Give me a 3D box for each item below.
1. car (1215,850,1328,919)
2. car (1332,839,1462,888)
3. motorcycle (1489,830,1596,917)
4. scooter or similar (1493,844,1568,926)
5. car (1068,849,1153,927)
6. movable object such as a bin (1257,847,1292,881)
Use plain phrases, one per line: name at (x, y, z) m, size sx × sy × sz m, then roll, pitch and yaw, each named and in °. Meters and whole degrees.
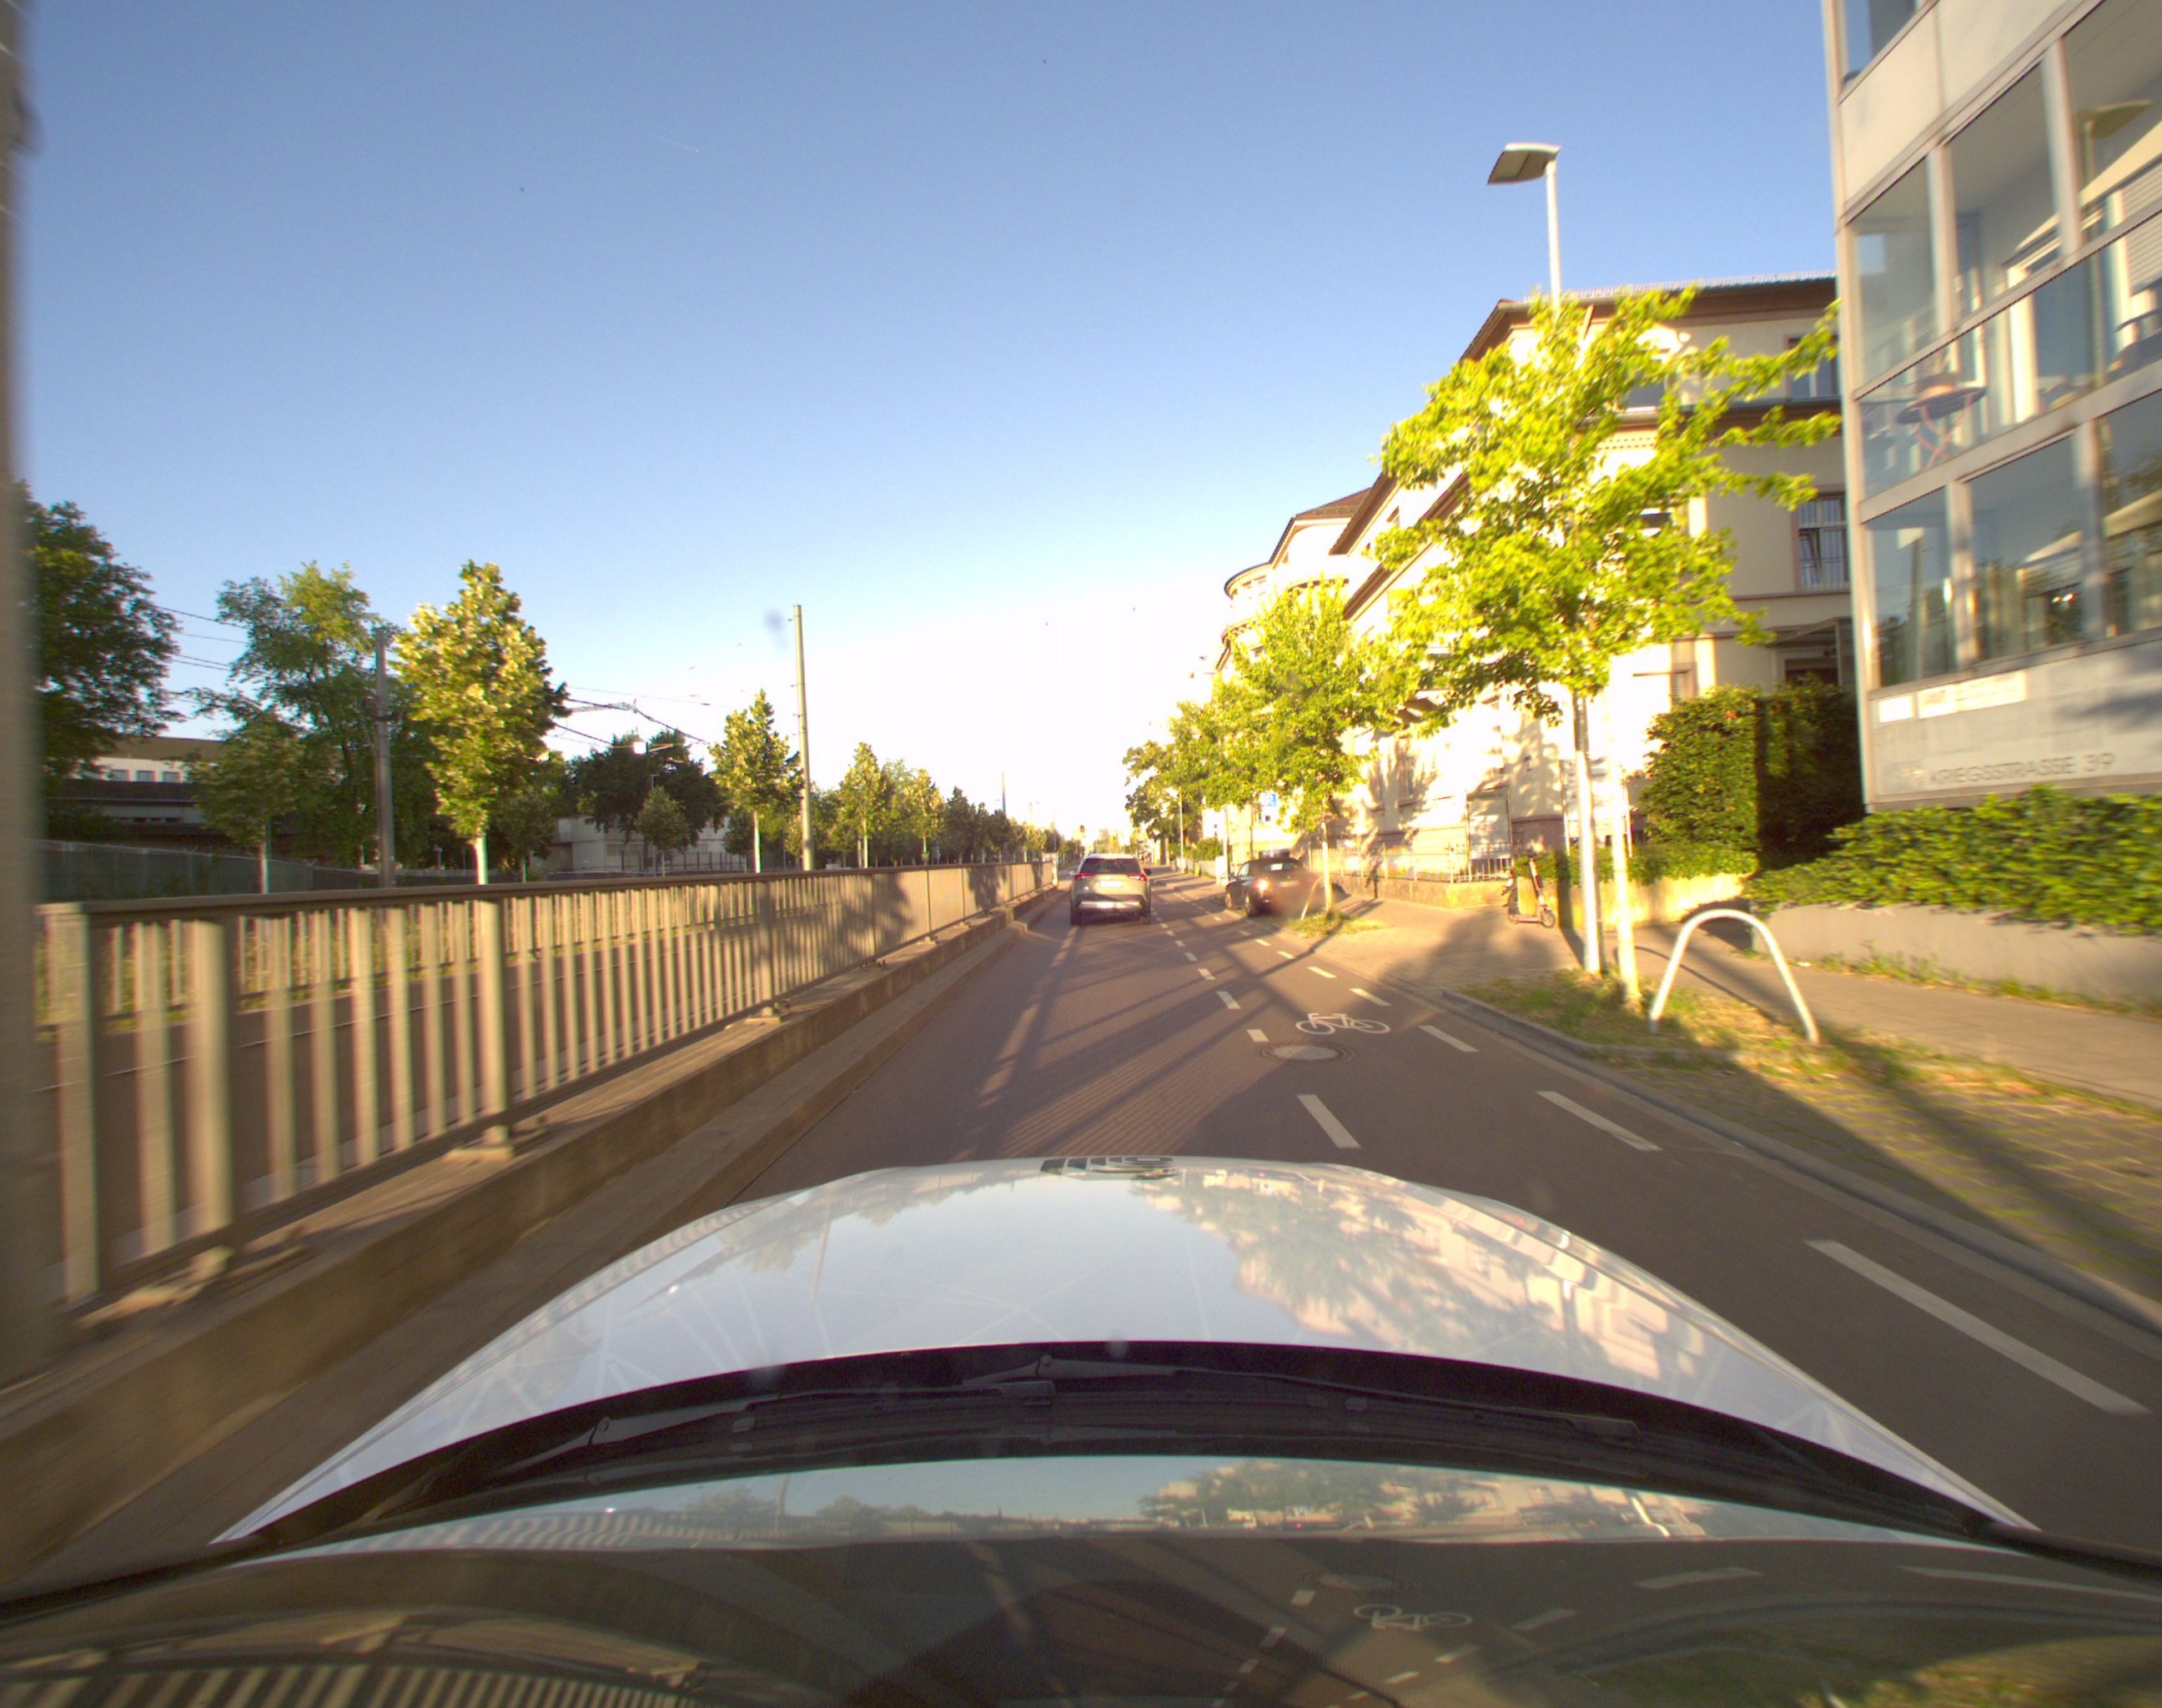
car at (4.877, 0.735, 21.506) m, size 1.787 × 1.471 × 4.443 m, roll -5°, pitch 0°, yaw -1°
car at (11.959, 0.357, 31.006) m, size 4.176 × 1.571 × 1.919 m, roll -4°, pitch 0°, yaw 4°
motorcycle at (8.255, 0.337, 14.601) m, size 1.492 × 1.413 × 0.626 m, roll -4°, pitch 1°, yaw -2°
scooter or similar at (7.247, 0.492, 13.186) m, size 0.489 × 1.258 × 1.207 m, roll -1°, pitch -1°, yaw -1°
car at (0.670, 0.768, 20.099) m, size 1.852 × 1.714 × 4.192 m, roll -1°, pitch 0°, yaw 0°
movable object such as a bin at (8.825, 0.448, 37.211) m, size 1.256 × 1.462 × 1.123 m, roll -2°, pitch -1°, yaw -2°
